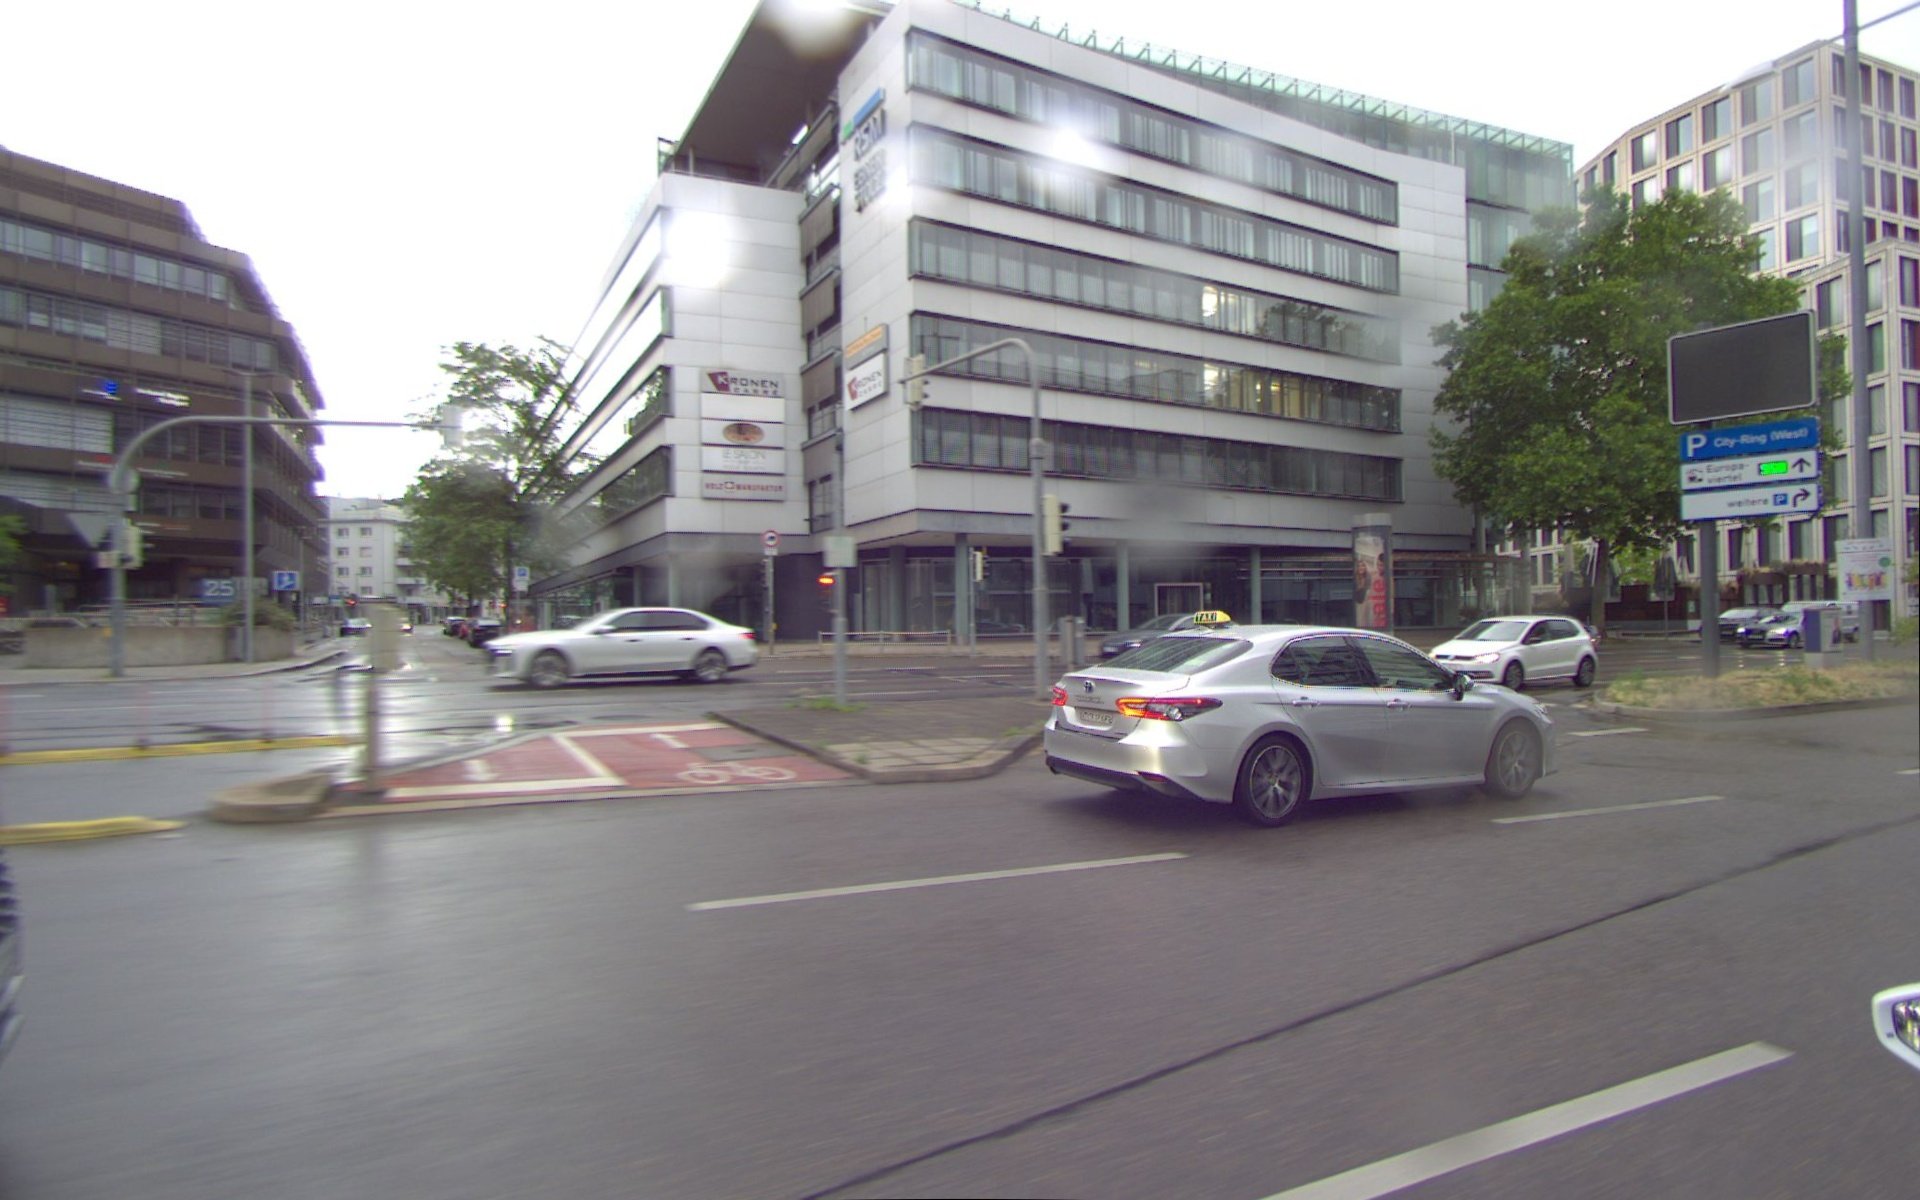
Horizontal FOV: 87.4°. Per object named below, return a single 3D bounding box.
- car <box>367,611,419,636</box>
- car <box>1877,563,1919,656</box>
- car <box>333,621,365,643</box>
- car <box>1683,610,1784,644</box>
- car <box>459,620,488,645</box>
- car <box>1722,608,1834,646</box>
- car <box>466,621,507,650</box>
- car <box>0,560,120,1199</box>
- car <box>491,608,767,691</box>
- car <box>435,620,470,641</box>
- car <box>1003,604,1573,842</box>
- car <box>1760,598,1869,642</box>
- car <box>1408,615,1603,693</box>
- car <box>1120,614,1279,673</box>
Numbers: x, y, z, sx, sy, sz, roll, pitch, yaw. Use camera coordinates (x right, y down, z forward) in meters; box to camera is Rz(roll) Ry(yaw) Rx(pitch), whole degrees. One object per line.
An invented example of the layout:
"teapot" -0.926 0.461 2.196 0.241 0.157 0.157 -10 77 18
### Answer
"car" -49.998 2.062 88.614 3.953 2.040 1.984 2 -2 -30
"car" 23.276 0.301 22.912 4.788 2.040 1.986 2 -2 -28
"car" -49.529 2.566 81.455 1.759 1.650 3.975 2 -2 -25
"car" 35.144 1.214 45.637 3.943 1.508 1.989 0 -1 -23
"car" -34.493 2.271 71.163 1.682 1.672 3.881 2 -2 -28
"car" 33.782 1.085 41.492 3.943 1.508 1.989 0 -1 -23
"car" -26.368 1.957 55.846 1.676 1.491 3.968 2 -2 -30
"car" -3.990 0.639 1.286 4.224 1.542 1.639 2 -1 -32
"car" -6.742 0.948 20.716 5.140 1.530 1.803 1 -1 -33
"car" -40.524 2.424 80.148 1.774 1.617 3.847 2 -1 -38
"car" 2.863 0.863 8.501 4.717 1.553 1.858 1 -1 -28
"car" 40.627 0.951 47.780 4.857 2.038 1.989 0 -1 -23
"car" 11.204 1.055 20.591 3.857 1.456 1.626 0 -1 -27
"car" 6.958 1.216 29.090 4.533 1.579 1.626 0 -1 -27
